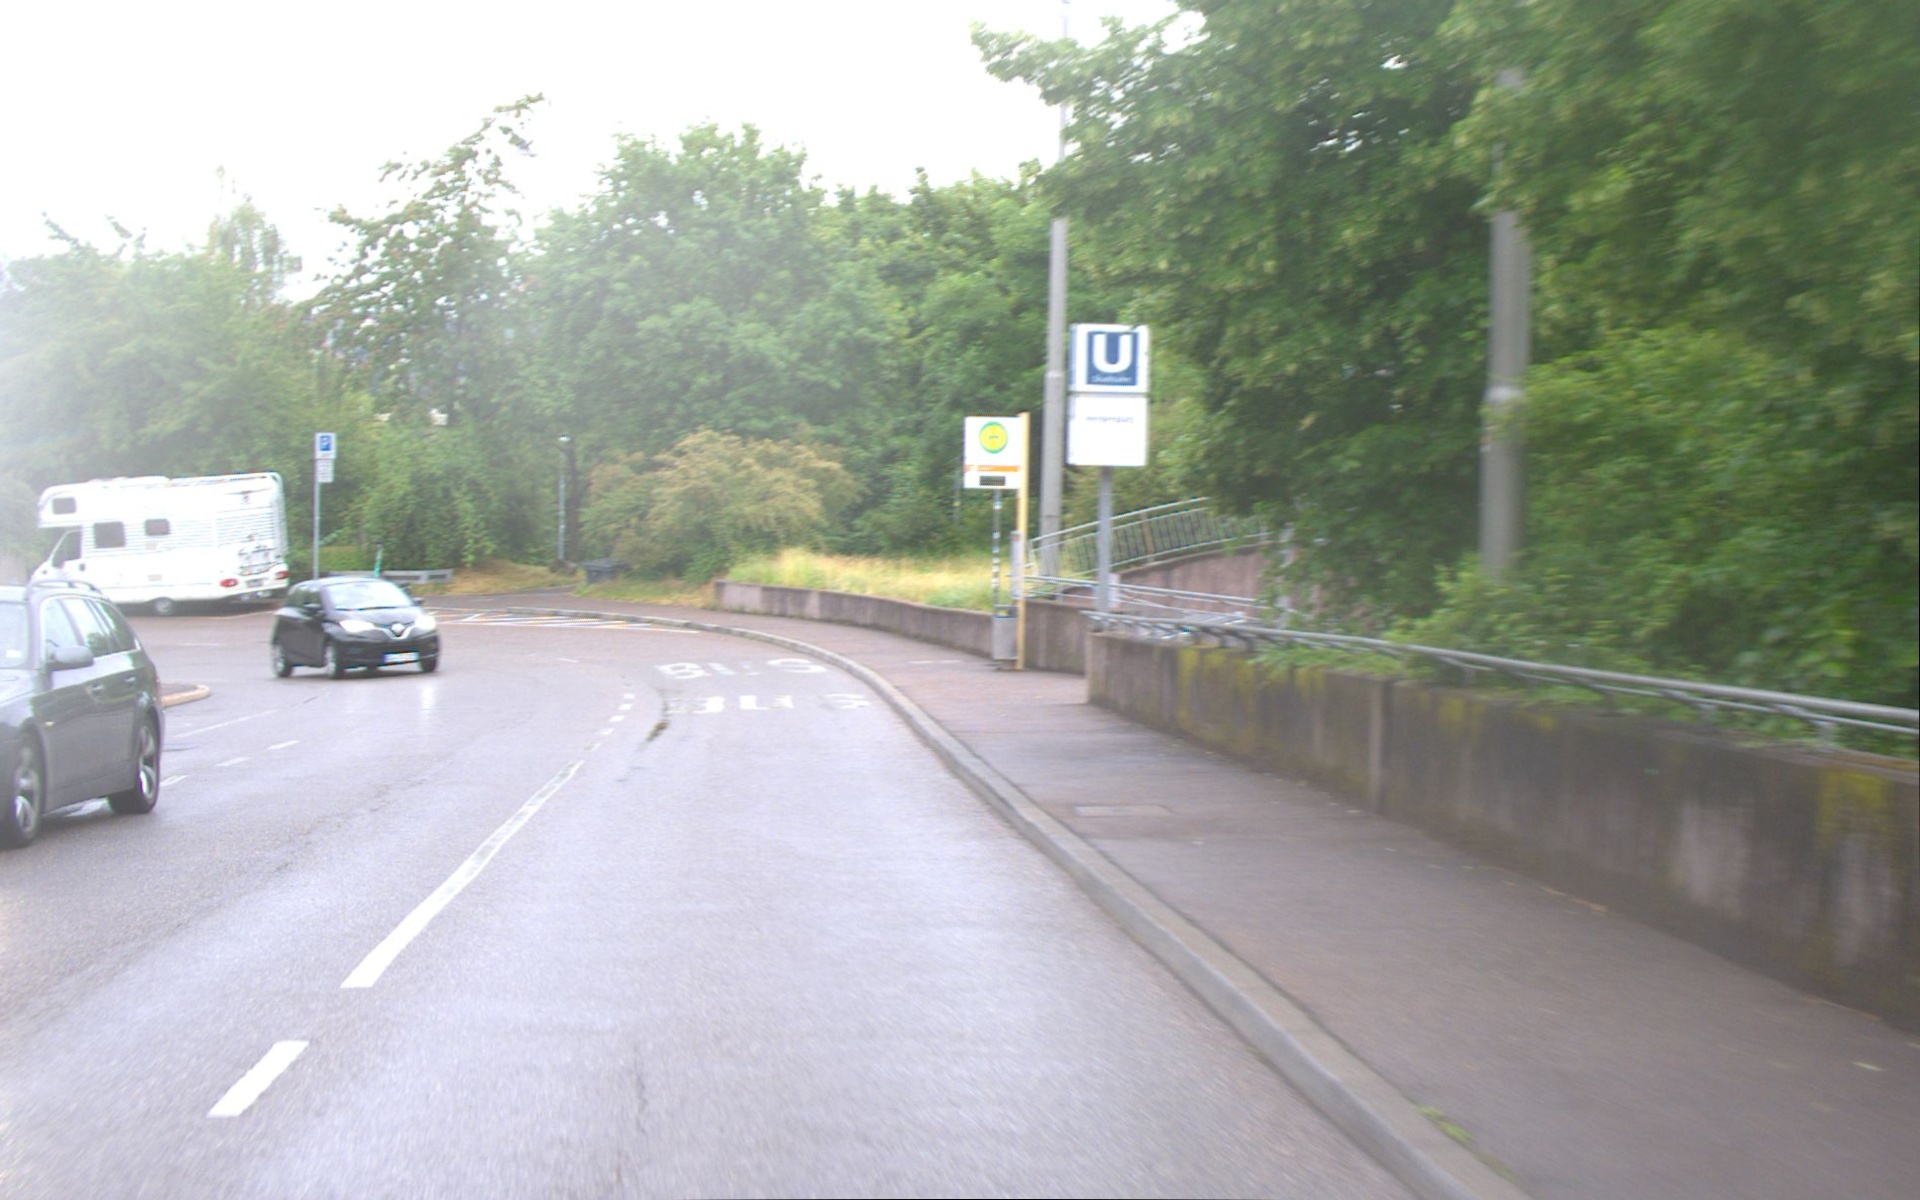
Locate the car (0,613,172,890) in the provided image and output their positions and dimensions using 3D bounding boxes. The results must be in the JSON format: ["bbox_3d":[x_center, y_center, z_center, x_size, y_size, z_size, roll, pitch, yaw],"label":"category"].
[{"bbox_3d":[-5.984,0.822,20.176,1.737,1.446,4.615,-1,0,-1],"label":"car"}]

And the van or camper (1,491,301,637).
[{"bbox_3d":[-17.973,-0.780,76.325,6.270,2.933,2.394,-1,6,28],"label":"van or camper"}]

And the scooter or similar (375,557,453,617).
[{"bbox_3d":[-12.126,-0.288,76.337,1.706,1.278,0.451,-2,3,29],"label":"scooter or similar"}]

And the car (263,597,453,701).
[{"bbox_3d":[-9.518,0.744,54.186,1.767,1.515,3.976,-1,1,-28],"label":"car"}]
